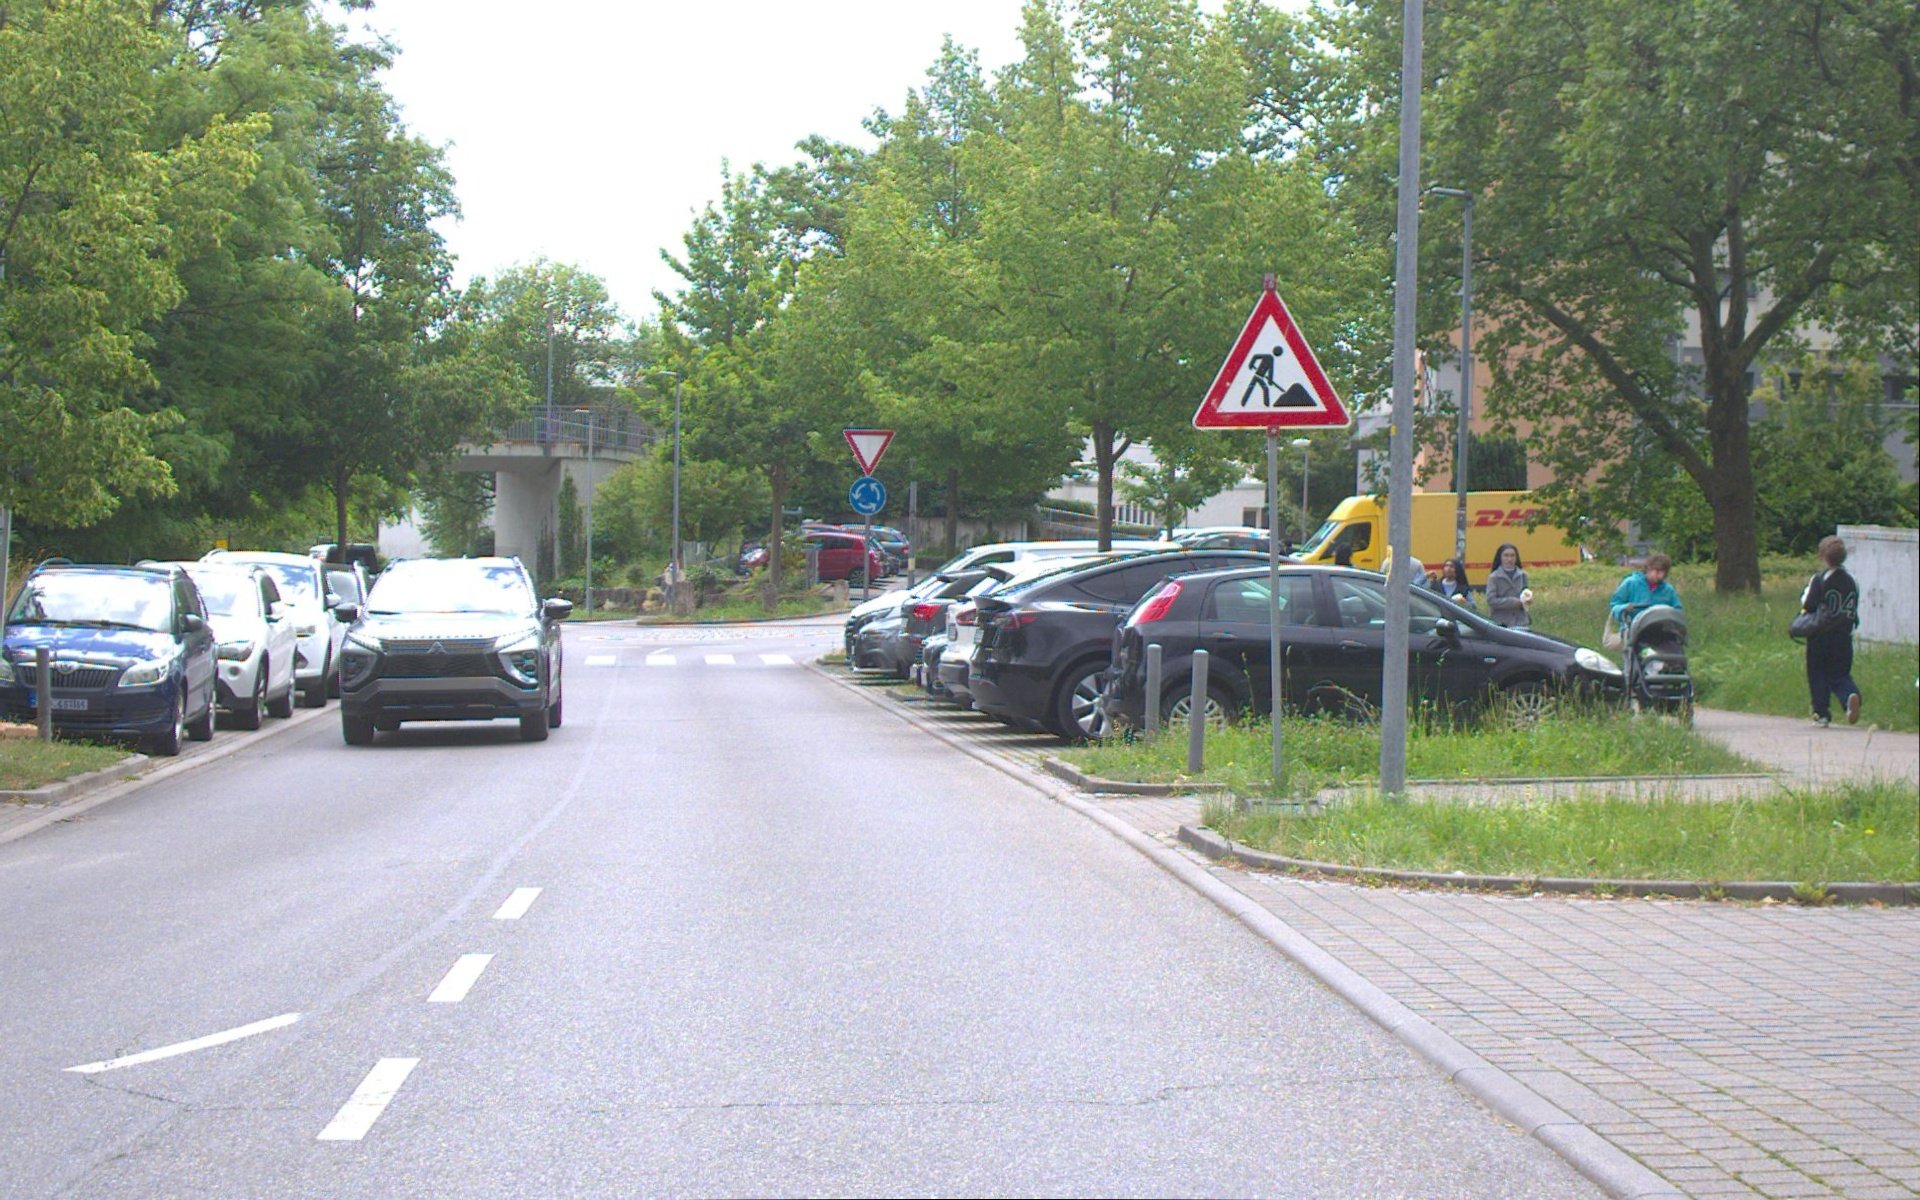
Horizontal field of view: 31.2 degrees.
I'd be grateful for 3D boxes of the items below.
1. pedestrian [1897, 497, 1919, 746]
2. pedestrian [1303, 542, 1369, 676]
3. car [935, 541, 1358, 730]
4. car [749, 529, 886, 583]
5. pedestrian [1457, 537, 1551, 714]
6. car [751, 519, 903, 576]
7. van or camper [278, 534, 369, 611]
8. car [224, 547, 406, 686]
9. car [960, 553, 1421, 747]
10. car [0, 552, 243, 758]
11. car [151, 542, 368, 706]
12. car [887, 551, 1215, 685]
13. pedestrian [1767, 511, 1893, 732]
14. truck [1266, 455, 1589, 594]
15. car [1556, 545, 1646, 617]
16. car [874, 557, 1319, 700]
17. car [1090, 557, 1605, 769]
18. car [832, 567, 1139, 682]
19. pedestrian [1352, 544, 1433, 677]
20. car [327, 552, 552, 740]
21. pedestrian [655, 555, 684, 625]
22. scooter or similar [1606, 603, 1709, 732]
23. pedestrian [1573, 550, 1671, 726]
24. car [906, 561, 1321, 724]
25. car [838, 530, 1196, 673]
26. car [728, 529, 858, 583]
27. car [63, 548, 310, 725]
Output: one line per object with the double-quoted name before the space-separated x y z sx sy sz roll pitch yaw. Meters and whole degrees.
"pedestrian" 7.300 0.160 24.691 0.831 1.786 0.878 1 1 -4
"pedestrian" 4.704 0.108 43.069 0.688 1.651 0.600 1 1 -6
"car" 1.643 0.298 31.298 3.670 1.641 1.852 0 1 -3
"car" -3.895 -1.212 94.468 3.650 1.434 1.684 1 1 1
"pedestrian" 5.596 0.255 35.400 0.739 1.786 0.878 1 1 -4
"car" -4.032 -1.593 104.661 4.543 1.662 1.945 1 1 -2
"van or camper" -22.136 -0.937 119.477 1.993 2.514 5.472 -2 0 -22
"car" -8.397 0.175 45.075 1.799 1.610 4.479 3 1 -5
"car" 1.870 0.395 28.597 3.670 1.569 1.593 0 1 -3
"car" -7.114 0.398 28.509 1.689 1.482 3.954 3 1 -4
"car" -7.906 0.221 39.163 1.807 1.659 4.437 3 1 -5
"car" 1.079 0.201 42.310 3.824 1.514 1.912 -2 1 -4
"pedestrian" 7.181 0.166 28.396 0.739 1.786 0.878 1 1 -4
"truck" 10.624 -1.706 78.480 6.801 2.694 2.474 -2 -4 -4
"car" 15.530 -0.476 83.394 1.568 1.653 3.777 -2 1 2
"car" 1.456 0.293 37.742 4.574 1.487 1.952 0 0 -9
"car" 2.897 0.459 26.217 3.670 1.493 1.646 1 1 -3
"car" 0.303 0.303 44.847 3.824 1.366 1.843 -2 1 -4
"pedestrian" 5.428 0.130 43.128 0.869 1.651 0.593 1 1 -6
"car" -4.778 0.370 31.501 1.896 1.577 4.169 0 1 -9
"pedestrian" -7.270 -0.258 86.070 0.658 1.716 0.739 1 1 0
"scooter or similar" 5.734 0.550 28.303 0.580 1.020 0.944 1 1 -4
"pedestrian" 5.615 0.311 29.174 0.618 1.463 0.736 1 1 -4
"car" 1.514 0.407 34.149 3.987 1.514 1.884 1 0 2
"car" 0.762 0.004 47.862 4.773 1.825 1.843 -2 1 -5
"car" -4.831 -1.278 99.733 3.650 1.493 1.684 1 1 1
"car" -7.463 0.304 33.529 1.689 1.506 4.231 3 1 -5
